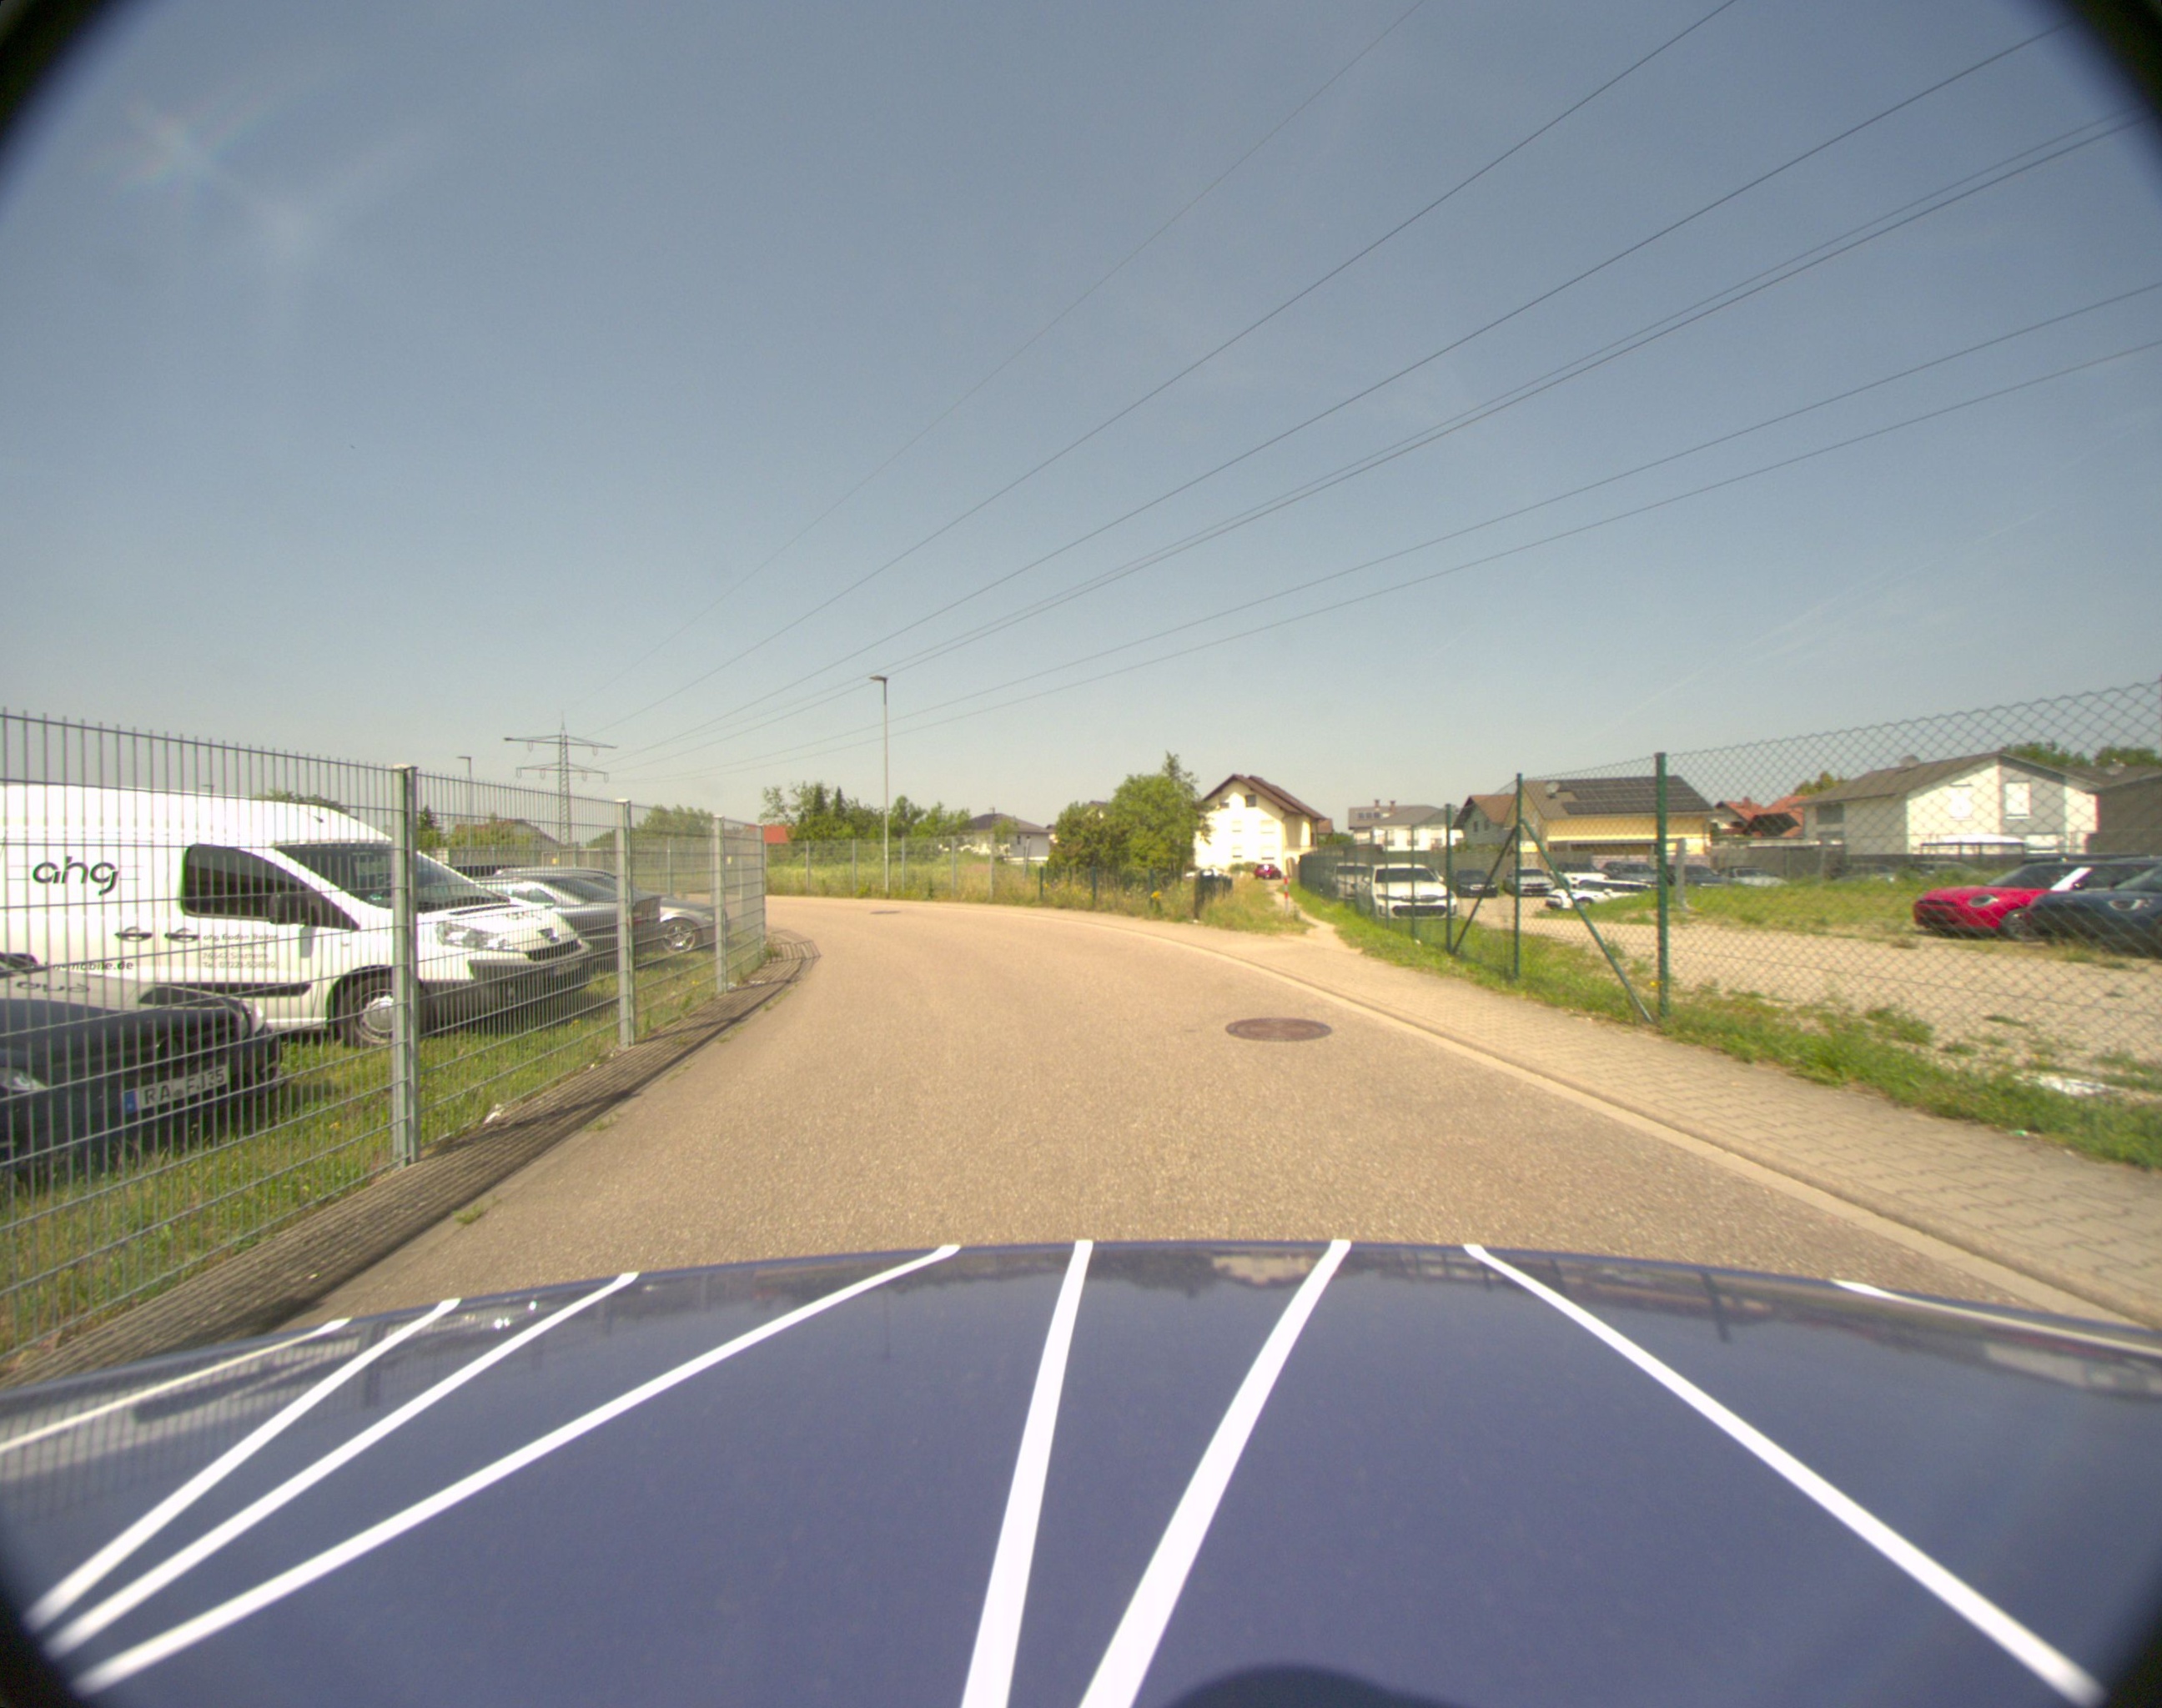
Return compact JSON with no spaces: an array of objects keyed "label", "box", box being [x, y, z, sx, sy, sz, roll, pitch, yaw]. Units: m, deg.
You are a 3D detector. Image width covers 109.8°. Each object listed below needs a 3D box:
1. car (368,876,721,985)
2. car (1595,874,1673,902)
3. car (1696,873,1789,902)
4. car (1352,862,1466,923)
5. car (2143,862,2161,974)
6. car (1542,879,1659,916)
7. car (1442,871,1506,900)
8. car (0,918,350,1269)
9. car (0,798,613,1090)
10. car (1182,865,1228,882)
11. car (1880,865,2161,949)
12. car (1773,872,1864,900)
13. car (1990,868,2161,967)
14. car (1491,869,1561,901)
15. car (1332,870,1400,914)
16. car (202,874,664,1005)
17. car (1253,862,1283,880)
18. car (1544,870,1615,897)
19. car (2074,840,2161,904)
[{"label":"car","box":[-8.225,1.109,12.187,4.363,1.387,1.613,-1,0,-24]},{"label":"car","box":[28.385,1.725,39.145,1.791,1.229,4.139,0,0,13]},{"label":"car","box":[32.883,1.635,37.920,1.791,1.229,4.139,0,0,13]},{"label":"car","box":[8.149,0.885,19.299,1.865,1.299,4.567,0,0,13]},{"label":"car","box":[16.579,0.873,9.407,3.690,1.552,1.870,0,0,12]},{"label":"car","box":[20.106,1.657,29.523,3.385,1.307,1.660,0,0,14]},{"label":"car","box":[20.934,1.661,40.667,2.038,1.335,4.421,0,0,13]},{"label":"car","box":[-6.869,1.108,3.755,4.434,1.352,1.906,-1,0,-6]},{"label":"car","box":[-7.418,0.658,6.609,5.343,2.136,1.905,-1,0,-9]},{"label":"car","box":[12.339,1.936,75.560,4.075,1.674,1.869,-1,0,30]},{"label":"car","box":[18.000,0.953,14.444,3.435,1.445,1.870,0,0,12]},{"label":"car","box":[36.908,1.574,38.154,1.790,1.229,3.612,0,0,16]},{"label":"car","box":[17.314,0.946,11.849,3.642,1.425,1.870,0,0,12]},{"label":"car","box":[23.525,1.605,40.323,2.038,1.527,4.139,0,0,13]},{"label":"car","box":[11.581,1.508,31.137,2.038,1.553,4.442,0,0,13]},{"label":"car","box":[-7.916,0.980,9.768,4.210,1.349,1.614,-1,0,-16]},{"label":"car","box":[18.857,1.717,76.467,1.862,1.718,4.143,0,0,30]},{"label":"car","box":[26.147,1.519,40.001,1.791,1.229,4.139,0,0,13]},{"label":"car","box":[23.603,0.351,15.664,3.435,1.291,1.870,0,0,10]}]
